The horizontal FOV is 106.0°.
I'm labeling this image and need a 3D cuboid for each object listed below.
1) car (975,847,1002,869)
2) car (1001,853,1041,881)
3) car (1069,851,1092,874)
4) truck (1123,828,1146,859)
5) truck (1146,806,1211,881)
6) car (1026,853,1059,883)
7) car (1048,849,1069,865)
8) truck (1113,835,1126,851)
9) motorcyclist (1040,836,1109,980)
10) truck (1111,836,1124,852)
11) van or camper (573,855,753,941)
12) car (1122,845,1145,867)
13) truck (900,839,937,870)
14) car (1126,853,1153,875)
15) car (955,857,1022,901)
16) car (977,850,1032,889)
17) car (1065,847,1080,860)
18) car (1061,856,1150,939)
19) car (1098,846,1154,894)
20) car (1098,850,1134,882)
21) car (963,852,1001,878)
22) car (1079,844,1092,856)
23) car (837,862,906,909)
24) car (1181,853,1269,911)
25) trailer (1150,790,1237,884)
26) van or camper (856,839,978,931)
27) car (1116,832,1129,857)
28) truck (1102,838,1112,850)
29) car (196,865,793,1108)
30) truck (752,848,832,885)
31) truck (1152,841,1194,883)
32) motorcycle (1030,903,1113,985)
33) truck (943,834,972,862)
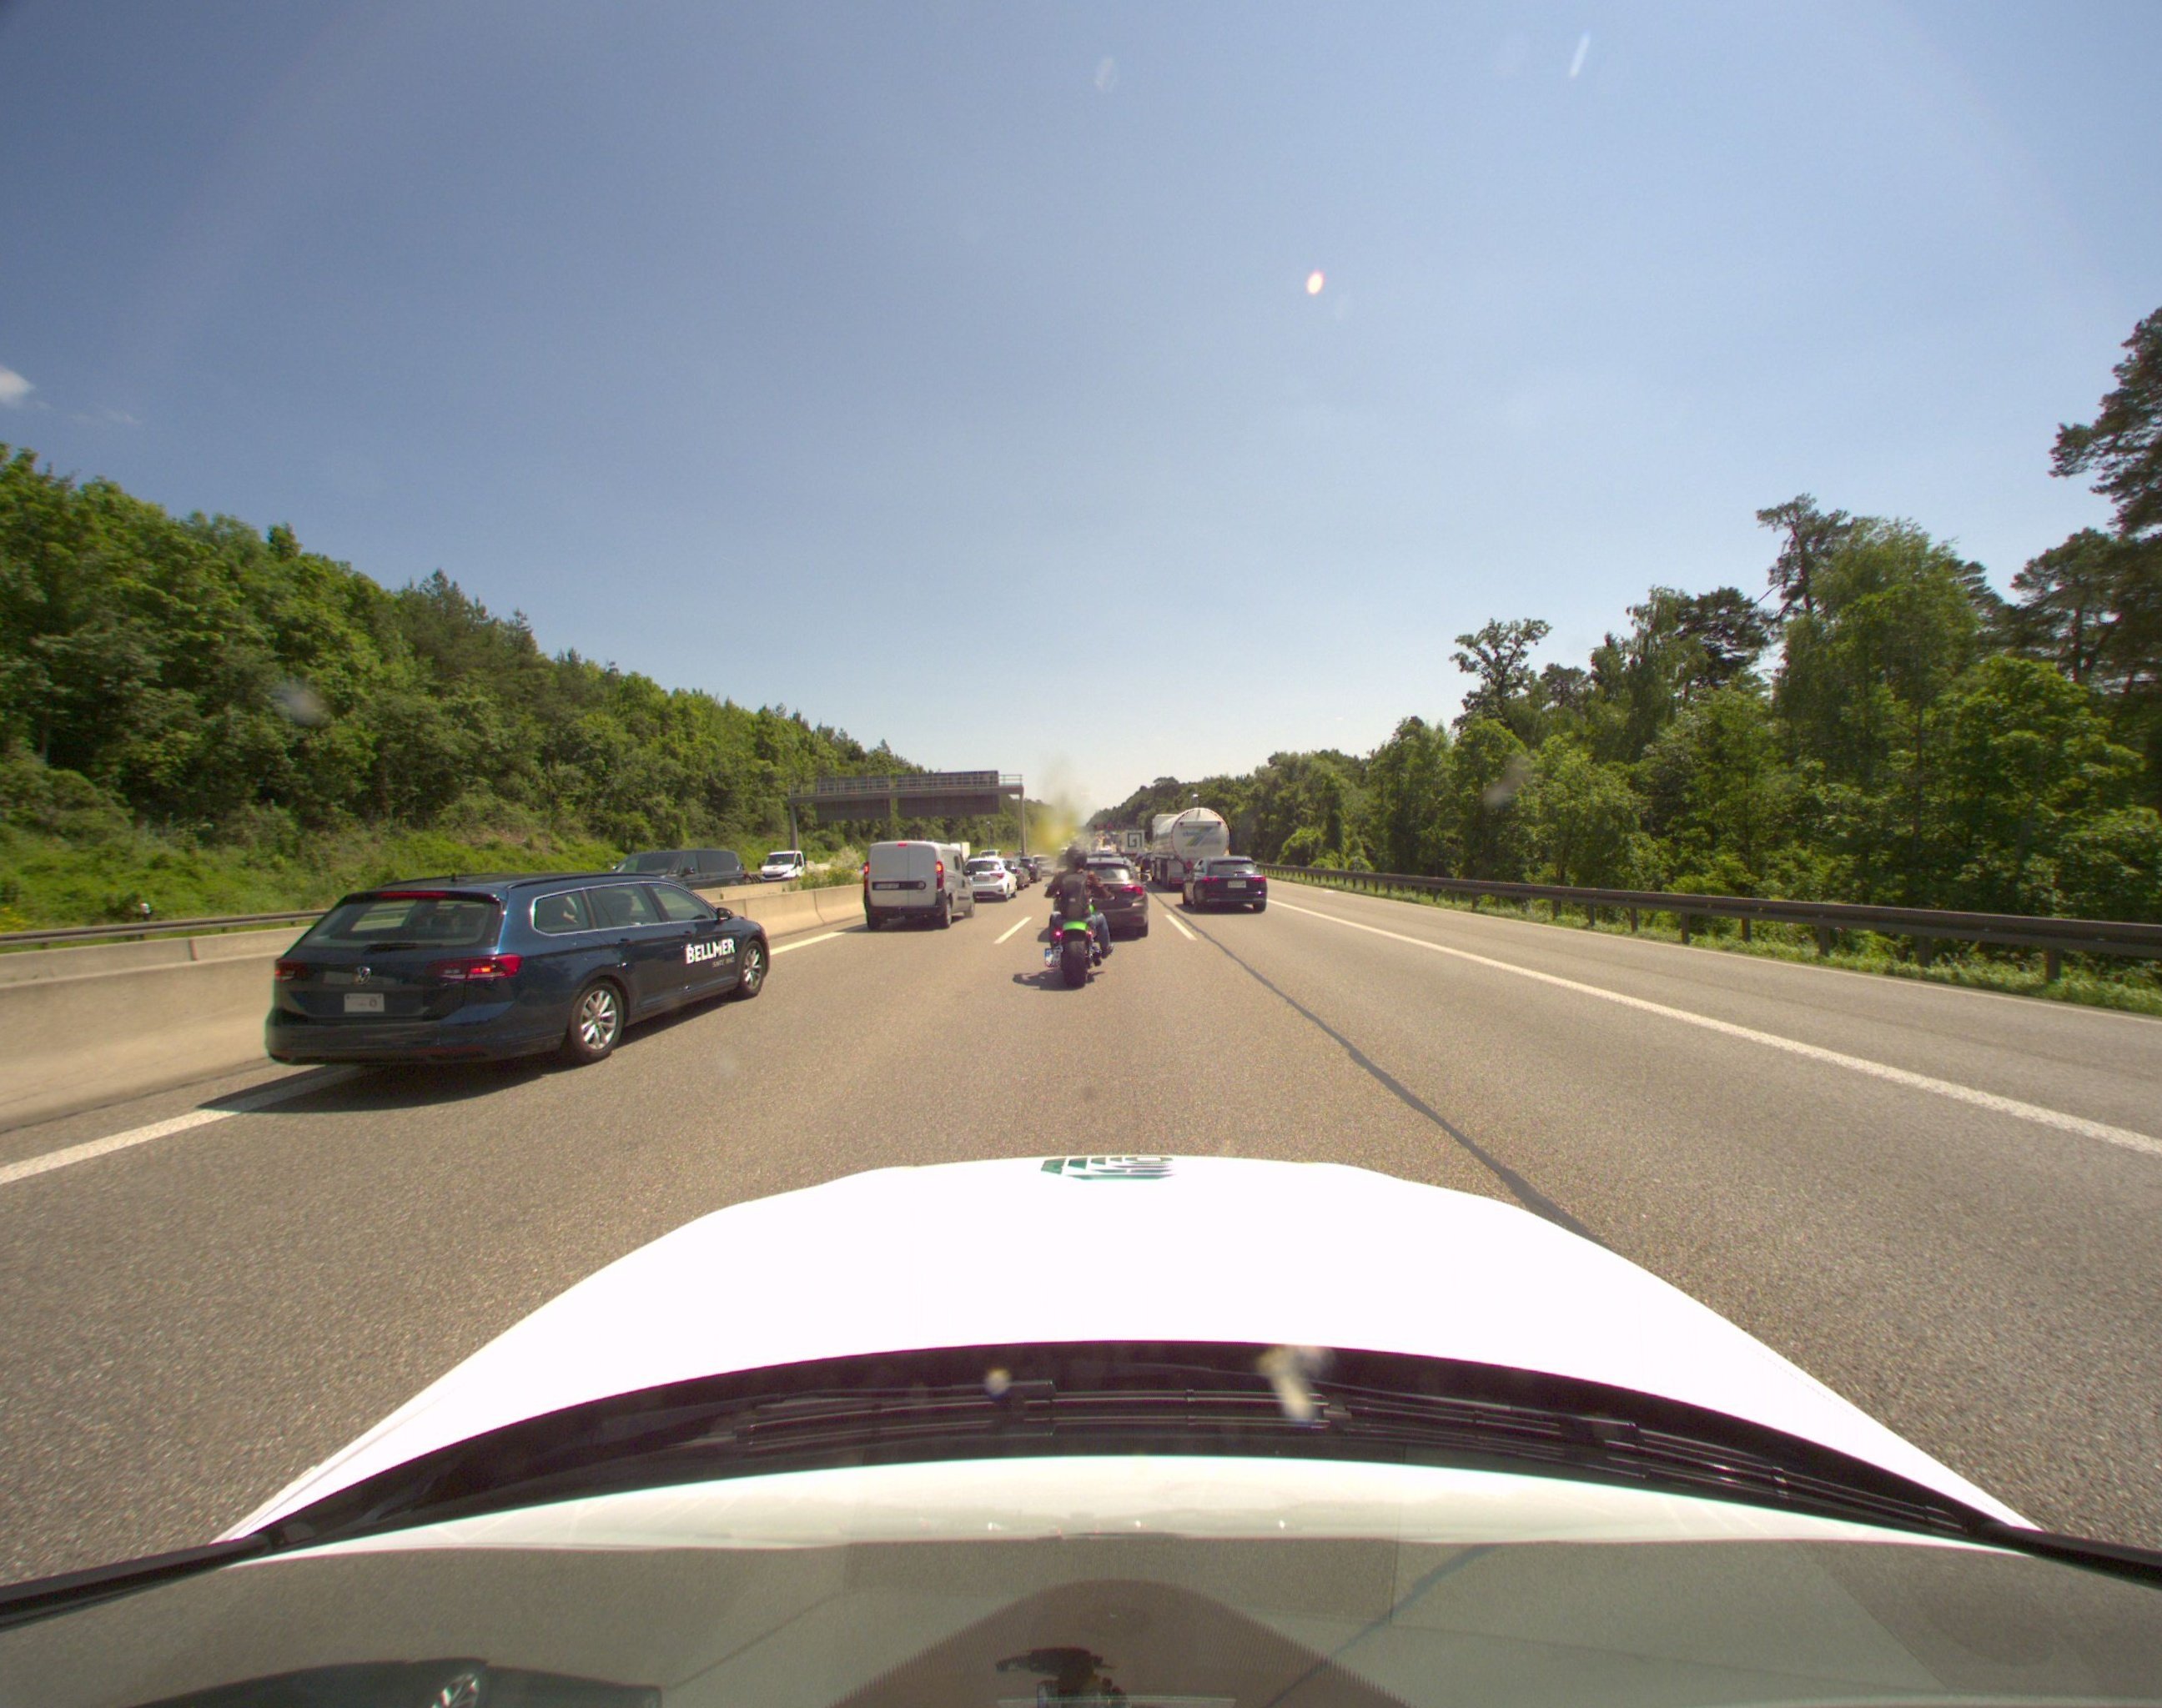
[{"bbox_3d":[-9.000,0.403,79.716,1.985,2.014,4.002,-1,-1,3],"label":"car"},{"bbox_3d":[-3.299,0.729,45.526,1.988,1.464,3.998,-1,-1,-1],"label":"car"},{"bbox_3d":[-0.036,0.813,75.346,1.986,2.014,4.001,-1,-1,2],"label":"car"},{"bbox_3d":[7.028,-1.270,106.749,2.840,3.821,7.196,-1,-1,5],"label":"truck"},{"bbox_3d":[5.065,-0.477,43.285,2.817,3.671,6.431,-1,-1,2],"label":"truck"},{"bbox_3d":[-2.635,0.952,56.915,1.986,2.014,4.001,-1,-1,1],"label":"car"},{"bbox_3d":[-2.125,0.295,79.194,1.757,1.442,4.002,-1,-1,2],"label":"car"},{"bbox_3d":[8.903,-2.471,188.183,2.686,3.405,10.482,-2,0,2],"label":"truck"},{"bbox_3d":[-0.056,0.645,10.081,0.796,1.688,1.017,-1,-1,2],"label":"motorcyclist"},{"bbox_3d":[5.144,-1.377,113.938,1.584,2.111,3.755,-1,-1,4],"label":"truck"},{"bbox_3d":[-10.857,1.082,21.676,1.985,2.014,4.932,-1,-1,4],"label":"van or camper"},{"bbox_3d":[5.087,0.240,79.538,1.987,2.014,3.999,-1,-1,0],"label":"car"},{"bbox_3d":[-16.130,0.107,81.399,2.170,2.885,6.743,-1,-1,1],"label":"truck"},{"bbox_3d":[4.218,0.753,59.401,1.769,1.527,4.001,-1,-1,2],"label":"car"},{"bbox_3d":[-3.173,0.855,28.762,1.769,1.411,4.001,-1,-1,2],"label":"car"},{"bbox_3d":[-3.438,0.705,37.336,1.986,1.684,4.331,-1,-1,2],"label":"car"},{"bbox_3d":[-1.103,-0.034,104.367,1.654,1.599,4.002,-1,-1,2],"label":"car"},{"bbox_3d":[0.496,0.768,16.328,1.535,1.450,4.002,-1,0,2],"label":"car"},{"bbox_3d":[1.660,0.610,31.167,1.986,1.711,4.000,-1,-1,1],"label":"car"},{"bbox_3d":[1.975,0.712,47.351,1.986,1.775,4.000,-1,-1,1],"label":"car"},{"bbox_3d":[-6.231,0.676,51.608,1.818,1.494,4.000,-1,0,1],"label":"car"},{"bbox_3d":[0.779,-0.695,138.558,1.986,2.013,4.002,-2,0,2],"label":"car"},{"bbox_3d":[-9.529,1.397,37.357,1.986,2.014,4.002,-1,-1,2],"label":"car"},{"bbox_3d":[3.913,0.750,22.859,1.785,1.458,4.625,-1,-1,2],"label":"car"},{"bbox_3d":[4.877,-0.583,37.386,2.817,3.671,10.736,-1,-1,2],"label":"trailer"},{"bbox_3d":[-3.659,0.615,19.008,1.847,1.880,4.561,-1,0,1],"label":"van or camper"},{"bbox_3d":[7.116,-1.557,140.094,2.159,3.893,9.333,-1,-1,2],"label":"car"},{"bbox_3d":[7.759,-2.961,242.808,2.686,3.405,10.482,-2,0,2],"label":"truck"},{"bbox_3d":[-4.437,0.849,7.343,1.867,1.450,4.679,-1,-1,2],"label":"car"},{"bbox_3d":[-16.963,0.766,48.257,2.343,2.014,6.492,-1,-1,1],"label":"truck"},{"bbox_3d":[6.915,0.562,62.356,2.380,2.979,8.253,-1,0,1],"label":"truck"},{"bbox_3d":[-0.067,1.088,10.371,0.932,0.793,2.300,-1,0,2],"label":"motorcycle"},{"bbox_3d":[-18.114,-0.800,120.040,2.682,3.990,7.993,-1,-1,2],"label":"truck"}]
